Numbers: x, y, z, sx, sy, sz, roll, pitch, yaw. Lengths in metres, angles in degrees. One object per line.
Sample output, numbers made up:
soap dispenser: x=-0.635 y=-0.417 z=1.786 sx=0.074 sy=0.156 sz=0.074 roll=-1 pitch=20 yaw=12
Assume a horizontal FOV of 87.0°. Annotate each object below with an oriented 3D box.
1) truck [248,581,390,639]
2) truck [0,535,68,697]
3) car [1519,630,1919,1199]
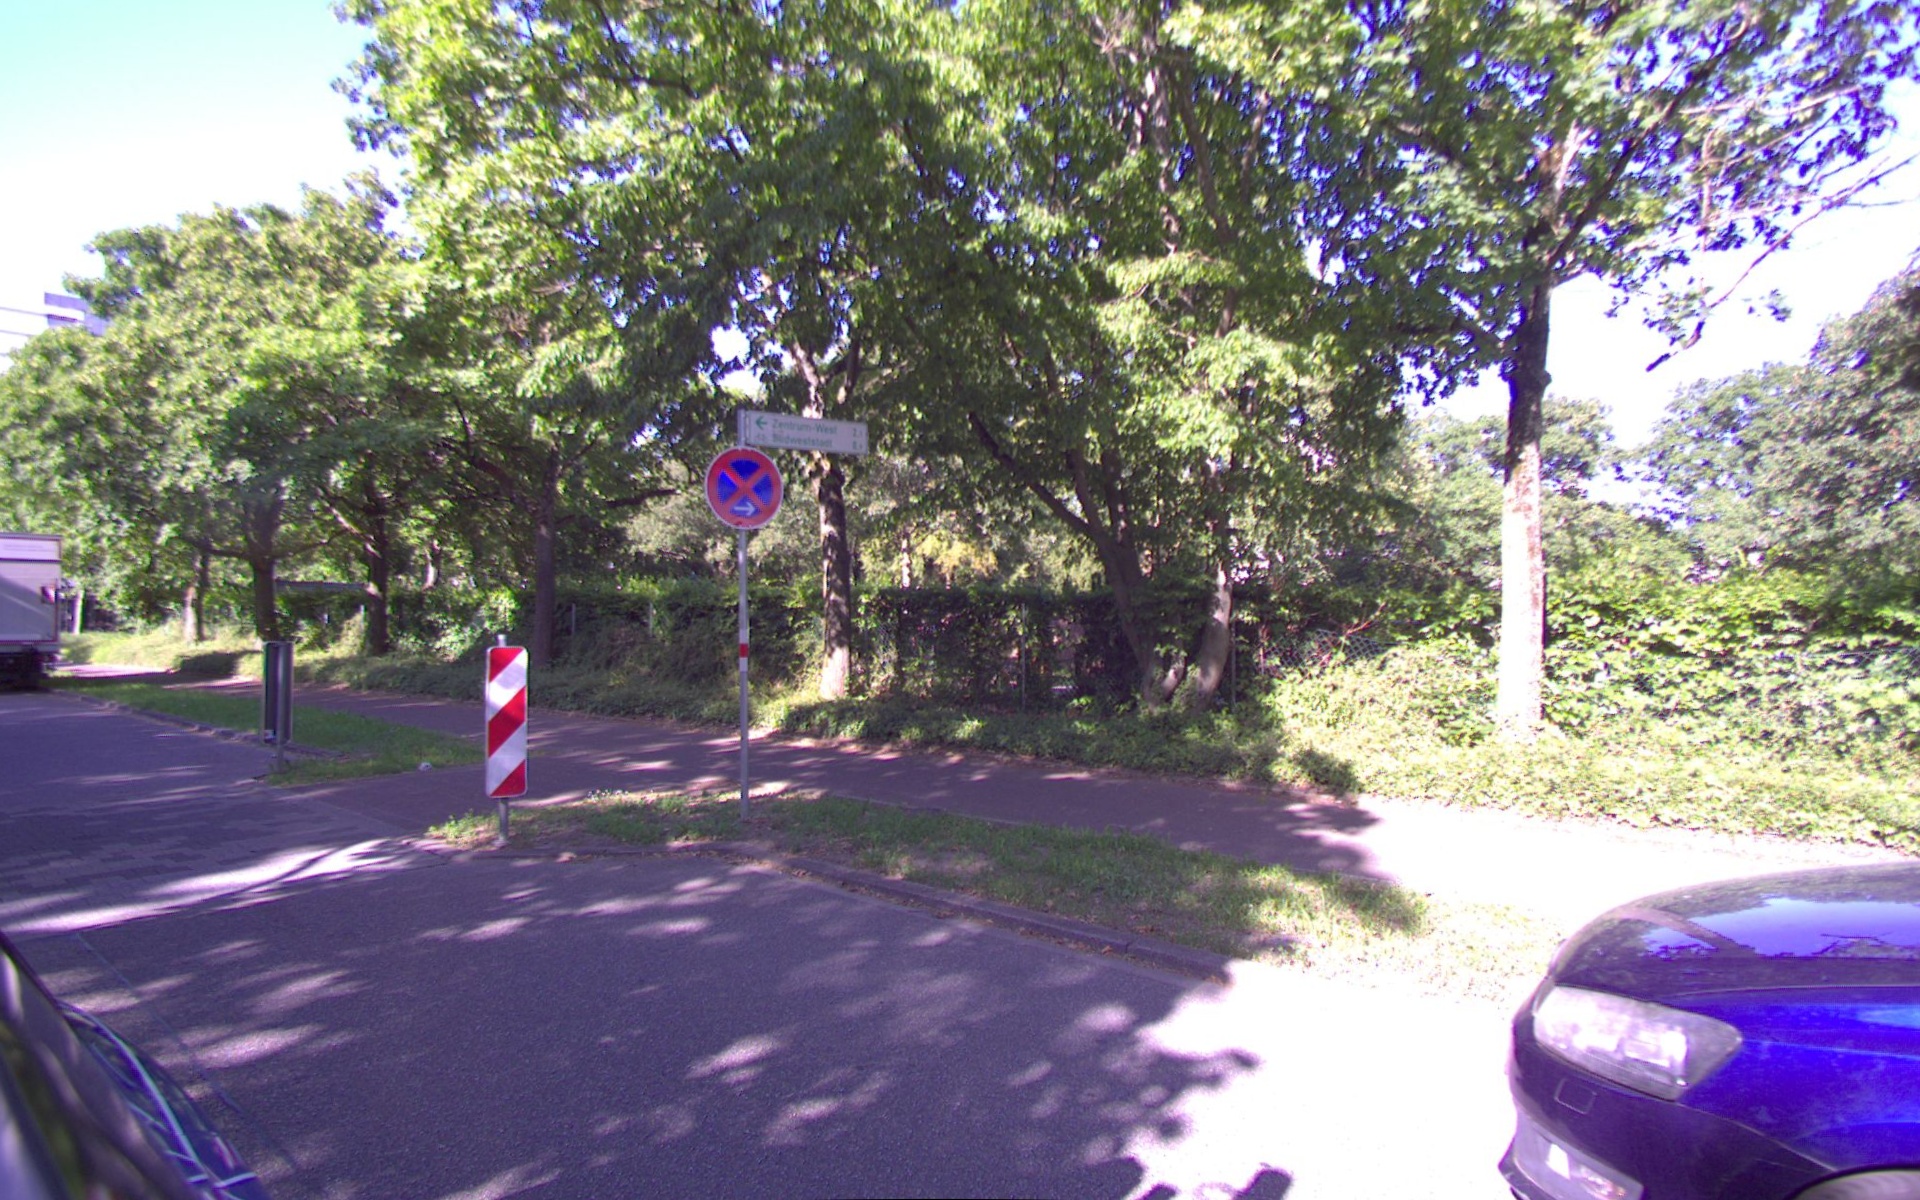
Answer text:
truck: x=-24.015 y=0.426 z=38.010 sx=2.201 sy=2.029 sz=3.949 roll=-2 pitch=-3 yaw=38
truck: x=-24.966 y=0.437 z=25.372 sx=8.094 sy=3.669 sz=2.707 roll=-2 pitch=-2 yaw=40
car: x=2.997 y=0.769 z=1.384 sx=3.650 sy=1.437 sz=1.584 roll=-2 pitch=-3 yaw=41
